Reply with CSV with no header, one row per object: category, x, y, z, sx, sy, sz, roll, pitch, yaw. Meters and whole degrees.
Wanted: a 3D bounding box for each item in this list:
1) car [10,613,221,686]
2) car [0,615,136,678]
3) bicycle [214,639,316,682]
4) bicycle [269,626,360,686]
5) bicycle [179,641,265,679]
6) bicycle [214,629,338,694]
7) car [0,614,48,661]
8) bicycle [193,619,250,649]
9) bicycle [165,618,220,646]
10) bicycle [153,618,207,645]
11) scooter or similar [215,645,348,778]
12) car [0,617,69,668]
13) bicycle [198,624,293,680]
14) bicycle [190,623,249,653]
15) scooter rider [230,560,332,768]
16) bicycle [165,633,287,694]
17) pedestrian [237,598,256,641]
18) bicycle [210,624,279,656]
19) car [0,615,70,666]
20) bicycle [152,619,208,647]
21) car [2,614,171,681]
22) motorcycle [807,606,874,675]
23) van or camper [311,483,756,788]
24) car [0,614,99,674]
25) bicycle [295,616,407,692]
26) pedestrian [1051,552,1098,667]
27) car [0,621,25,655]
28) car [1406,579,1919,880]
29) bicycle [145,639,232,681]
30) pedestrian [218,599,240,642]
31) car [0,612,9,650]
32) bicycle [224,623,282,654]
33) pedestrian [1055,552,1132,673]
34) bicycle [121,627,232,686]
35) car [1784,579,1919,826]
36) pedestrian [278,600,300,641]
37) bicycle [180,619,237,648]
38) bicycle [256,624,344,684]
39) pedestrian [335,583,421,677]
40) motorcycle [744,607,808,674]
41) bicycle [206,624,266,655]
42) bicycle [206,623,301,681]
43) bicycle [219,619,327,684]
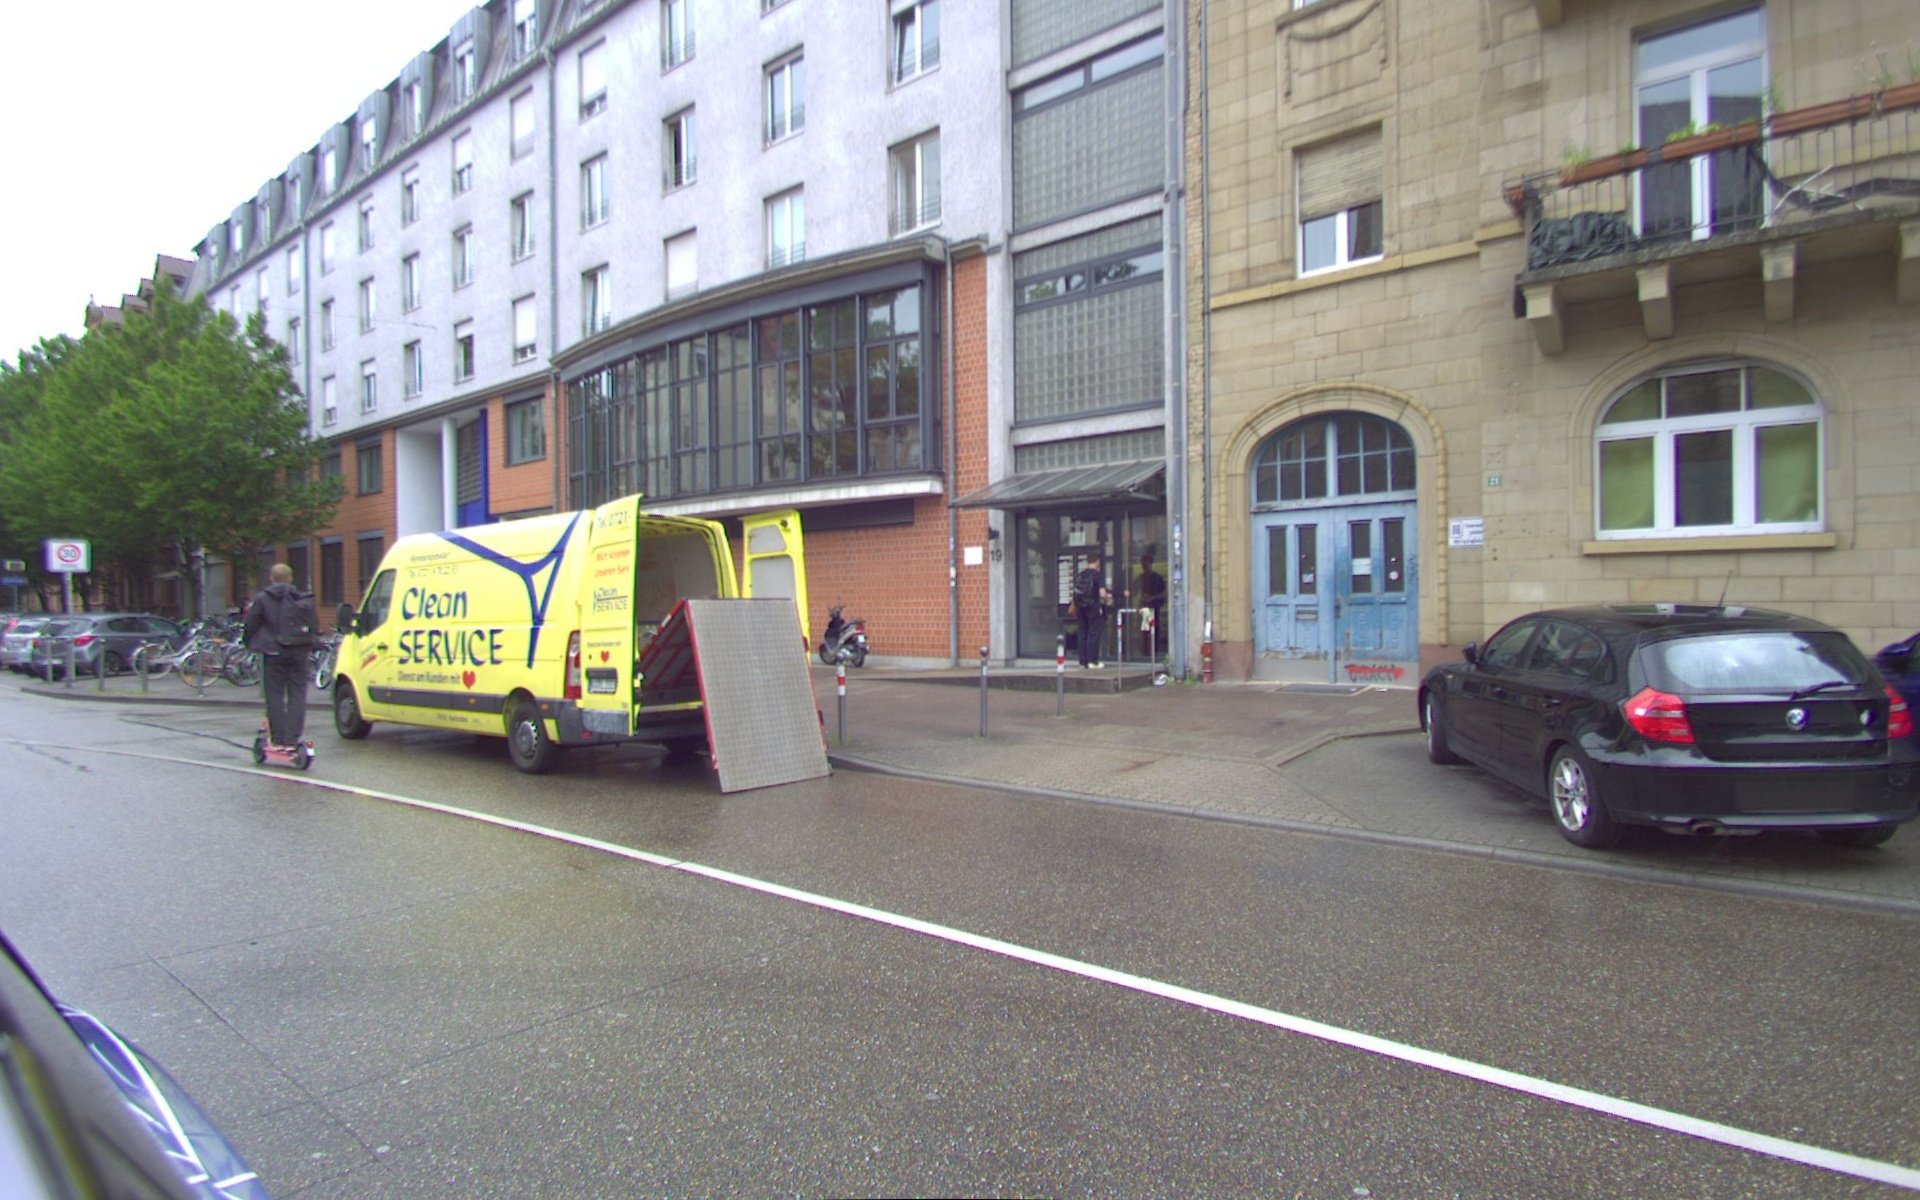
car,-19.853,1.112,23.994,1.720,1.514,3.614,0,0,9
car,-24.252,1.216,27.355,1.432,1.514,3.078,-1,0,0
bicycle,-14.502,1.240,21.163,0.455,0.767,1.757,-1,1,27
bicycle,-12.675,1.084,19.891,0.418,1.072,1.442,-1,1,44
bicycle,-16.353,1.312,22.444,0.497,0.727,1.454,-1,1,43
bicycle,-12.816,1.132,18.989,1.832,1.081,0.610,-2,1,-45
car,-33.058,1.310,34.558,1.138,1.567,2.672,-1,0,11
bicycle,-25.623,1.178,35.141,0.444,0.992,1.573,-1,-1,32
bicycle,-28.839,1.197,38.050,0.464,0.992,1.573,-1,-1,32
bicycle,-29.794,1.197,38.676,0.464,0.992,1.573,-1,-1,32
scooter or similar,-6.651,1.047,9.902,1.383,1.174,0.694,-1,-1,39
car,-29.076,1.288,31.116,1.177,1.461,2.502,-1,0,0
bicycle,-15.514,1.109,21.992,0.519,1.114,1.591,-1,1,35
bicycle,-25.285,1.288,34.573,0.444,0.992,1.573,-1,-1,32
scooter rider,-6.633,0.605,9.897,0.503,1.950,0.704,-1,-2,38
bicycle,-13.794,1.173,19.068,0.519,1.000,1.778,-1,1,38
pedestrian,-27.212,0.755,38.590,0.425,1.622,0.508,-1,-1,41
bicycle,-23.387,1.283,33.121,0.444,0.992,1.831,-1,-1,32
car,-30.948,1.321,32.785,1.358,1.567,2.971,-1,0,11
bicycle,-28.530,1.188,37.024,0.464,0.992,1.573,-1,-1,32
car,-22.152,1.172,25.803,1.436,1.514,3.070,-1,0,9
motorcycle,-2.197,0.707,18.400,0.516,1.190,1.763,-1,0,-30
van or camper,-5.071,0.367,11.503,5.936,2.631,2.174,-1,-2,40
car,-26.669,1.222,28.960,1.432,1.564,3.078,-1,0,0
bicycle,-11.215,0.964,18.720,0.760,1.225,1.917,0,2,5
pedestrian,1.787,0.156,15.835,0.467,1.761,0.608,0,-2,-24
car,-43.503,1.676,44.547,1.662,1.502,3.798,0,-1,-10
car,4.740,0.684,7.174,1.777,1.523,4.034,-1,-1,7
bicycle,-17.132,1.315,22.491,0.497,0.811,1.454,-1,1,43
pedestrian,-27.835,0.787,38.554,0.372,1.622,0.598,-1,-1,39
car,-48.718,1.521,48.834,1.666,1.910,4.330,0,-1,-1
bicycle,-23.845,1.294,34.159,0.444,0.992,1.573,-1,-1,32
pedestrian,2.013,0.181,15.198,0.785,1.741,0.997,-1,-1,31
bicycle,-16.579,1.168,21.457,0.472,1.114,1.791,-1,1,35
car,6.918,0.643,5.721,1.780,1.585,4.029,-1,-1,11
pedestrian,-25.000,0.763,37.688,0.547,1.541,0.509,-1,-2,37
bicycle,-26.581,1.182,35.811,0.464,0.992,1.573,-1,-1,32
bicycle,-13.278,1.076,20.376,1.439,1.111,0.462,-2,1,-36
pedestrian,-12.688,0.634,22.086,1.054,1.894,1.213,-1,3,40
motorcycle,-3.528,0.739,19.305,0.516,1.190,2.010,-1,0,-30
bicycle,-23.828,1.283,33.332,0.444,0.992,1.573,-1,-1,32
bicycle,-15.007,1.089,21.535,0.517,1.114,1.596,-1,1,27
bicycle,-14.067,1.033,20.772,0.517,1.203,1.798,-1,1,27
